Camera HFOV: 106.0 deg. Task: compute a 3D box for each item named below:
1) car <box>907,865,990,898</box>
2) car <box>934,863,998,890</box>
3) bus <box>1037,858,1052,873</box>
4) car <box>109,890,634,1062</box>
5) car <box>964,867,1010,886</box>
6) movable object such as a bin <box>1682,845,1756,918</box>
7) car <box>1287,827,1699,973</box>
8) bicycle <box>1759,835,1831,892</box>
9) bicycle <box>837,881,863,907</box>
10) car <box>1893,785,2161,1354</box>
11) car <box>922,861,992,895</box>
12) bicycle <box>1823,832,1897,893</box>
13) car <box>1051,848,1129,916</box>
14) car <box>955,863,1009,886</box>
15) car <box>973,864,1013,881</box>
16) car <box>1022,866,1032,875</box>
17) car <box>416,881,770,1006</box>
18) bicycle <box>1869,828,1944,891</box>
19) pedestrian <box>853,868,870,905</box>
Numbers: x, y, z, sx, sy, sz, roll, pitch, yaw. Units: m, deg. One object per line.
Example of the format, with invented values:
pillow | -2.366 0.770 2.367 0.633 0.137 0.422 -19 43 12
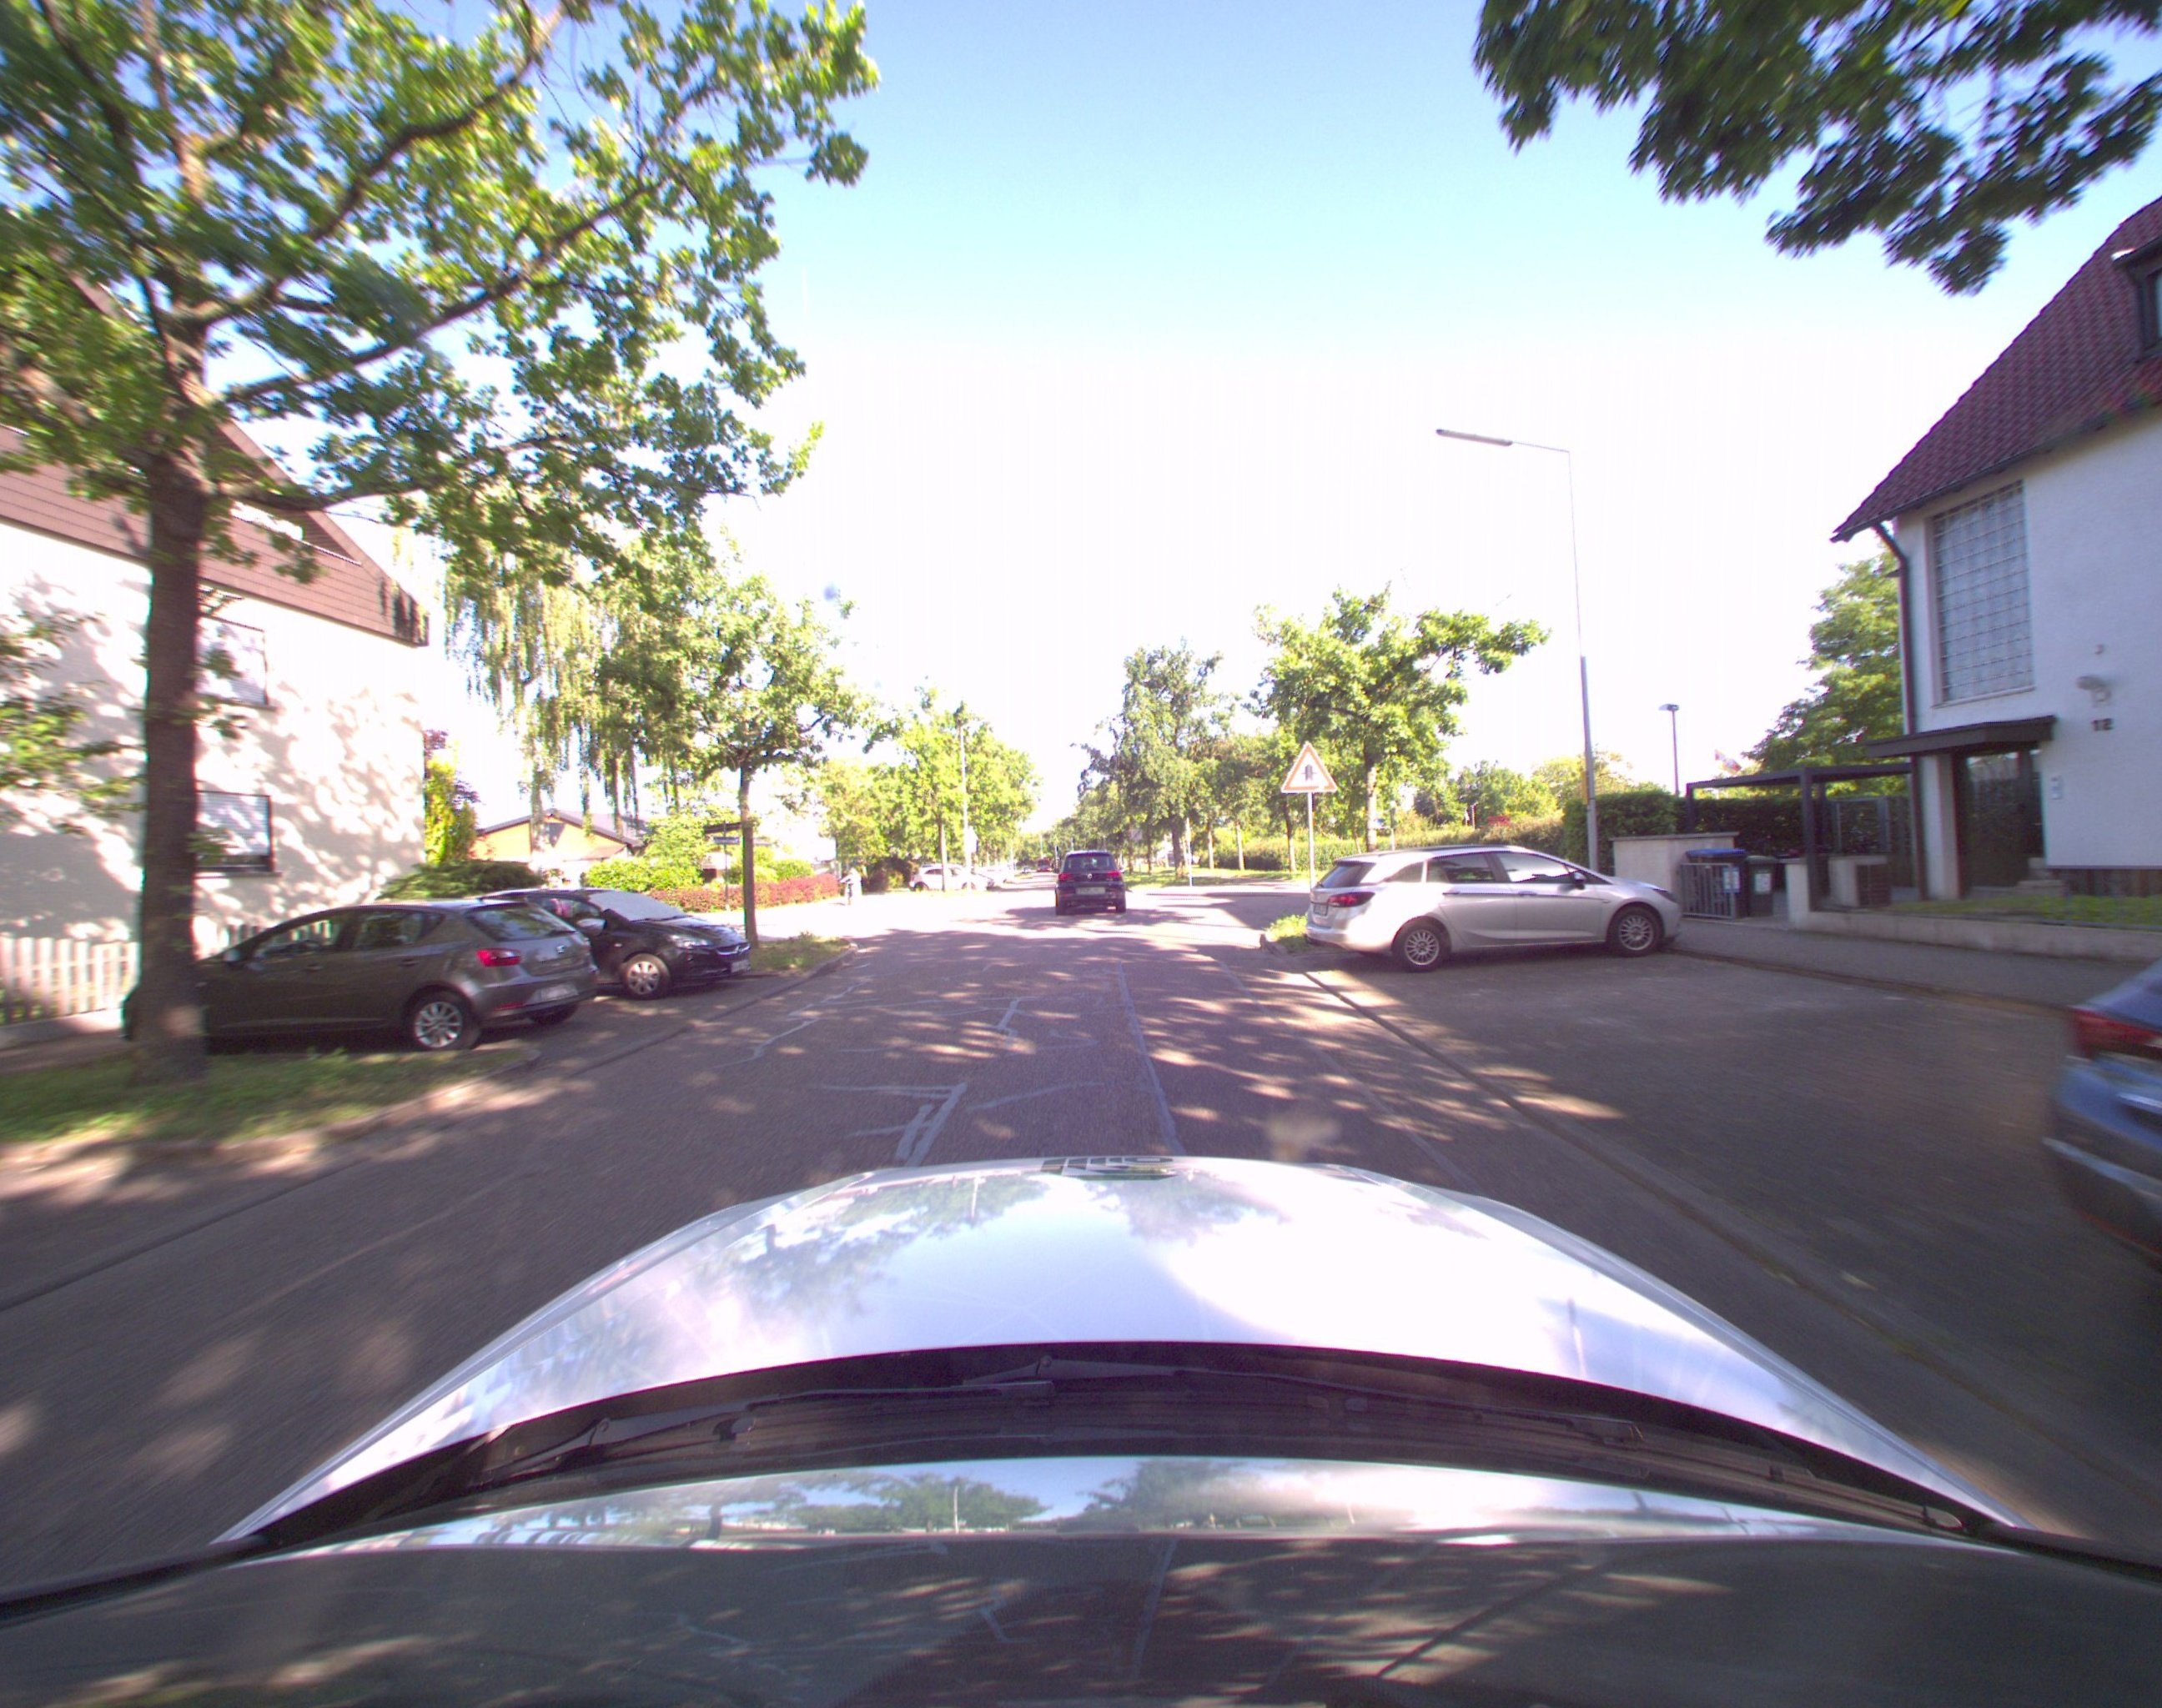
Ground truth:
car | -7.319 1.519 45.216 4.230 1.623 1.895 -3 -1 -2
car | -7.824 1.517 55.595 4.005 1.647 1.895 -3 0 -2
bus | -7.792 2.483 174.786 2.920 3.004 5.734 -3 -1 -1
car | -6.993 1.160 8.343 3.805 1.419 1.773 -2 -1 1
car | -8.772 2.101 76.077 4.005 1.647 1.810 -3 -1 -2
movable object such as a bin | 9.697 0.406 12.391 0.532 1.045 0.700 -3 -1 1
car | 5.134 0.551 10.613 4.413 1.491 1.797 -3 0 0
bicycle | 14.323 0.183 16.324 1.679 1.054 0.527 -3 -1 -30
bicycle | -9.866 1.713 34.810 0.445 1.039 1.893 -3 -1 2
car | 4.934 0.463 1.833 4.258 1.503 1.798 -3 0 3
car | -7.680 1.459 50.635 4.005 1.839 1.895 -3 0 -2
bicycle | 14.794 0.156 15.453 1.679 1.054 0.527 -3 -1 -30
car | 0.328 0.717 22.354 1.829 1.636 3.962 -2 -1 4
car | -7.949 1.655 65.608 4.005 1.647 1.810 -3 -1 -2
car | -9.304 1.962 86.647 4.005 1.647 1.810 -3 0 -2
car | -11.308 3.521 172.027 1.847 1.693 3.953 -3 -1 -1
car | -6.591 1.181 11.275 3.841 1.459 1.715 -2 0 3
bicycle | 15.127 0.097 14.913 1.679 1.054 0.527 -3 -1 -30
pedestrian | -9.424 1.401 34.977 0.439 1.557 0.801 -3 -1 2
